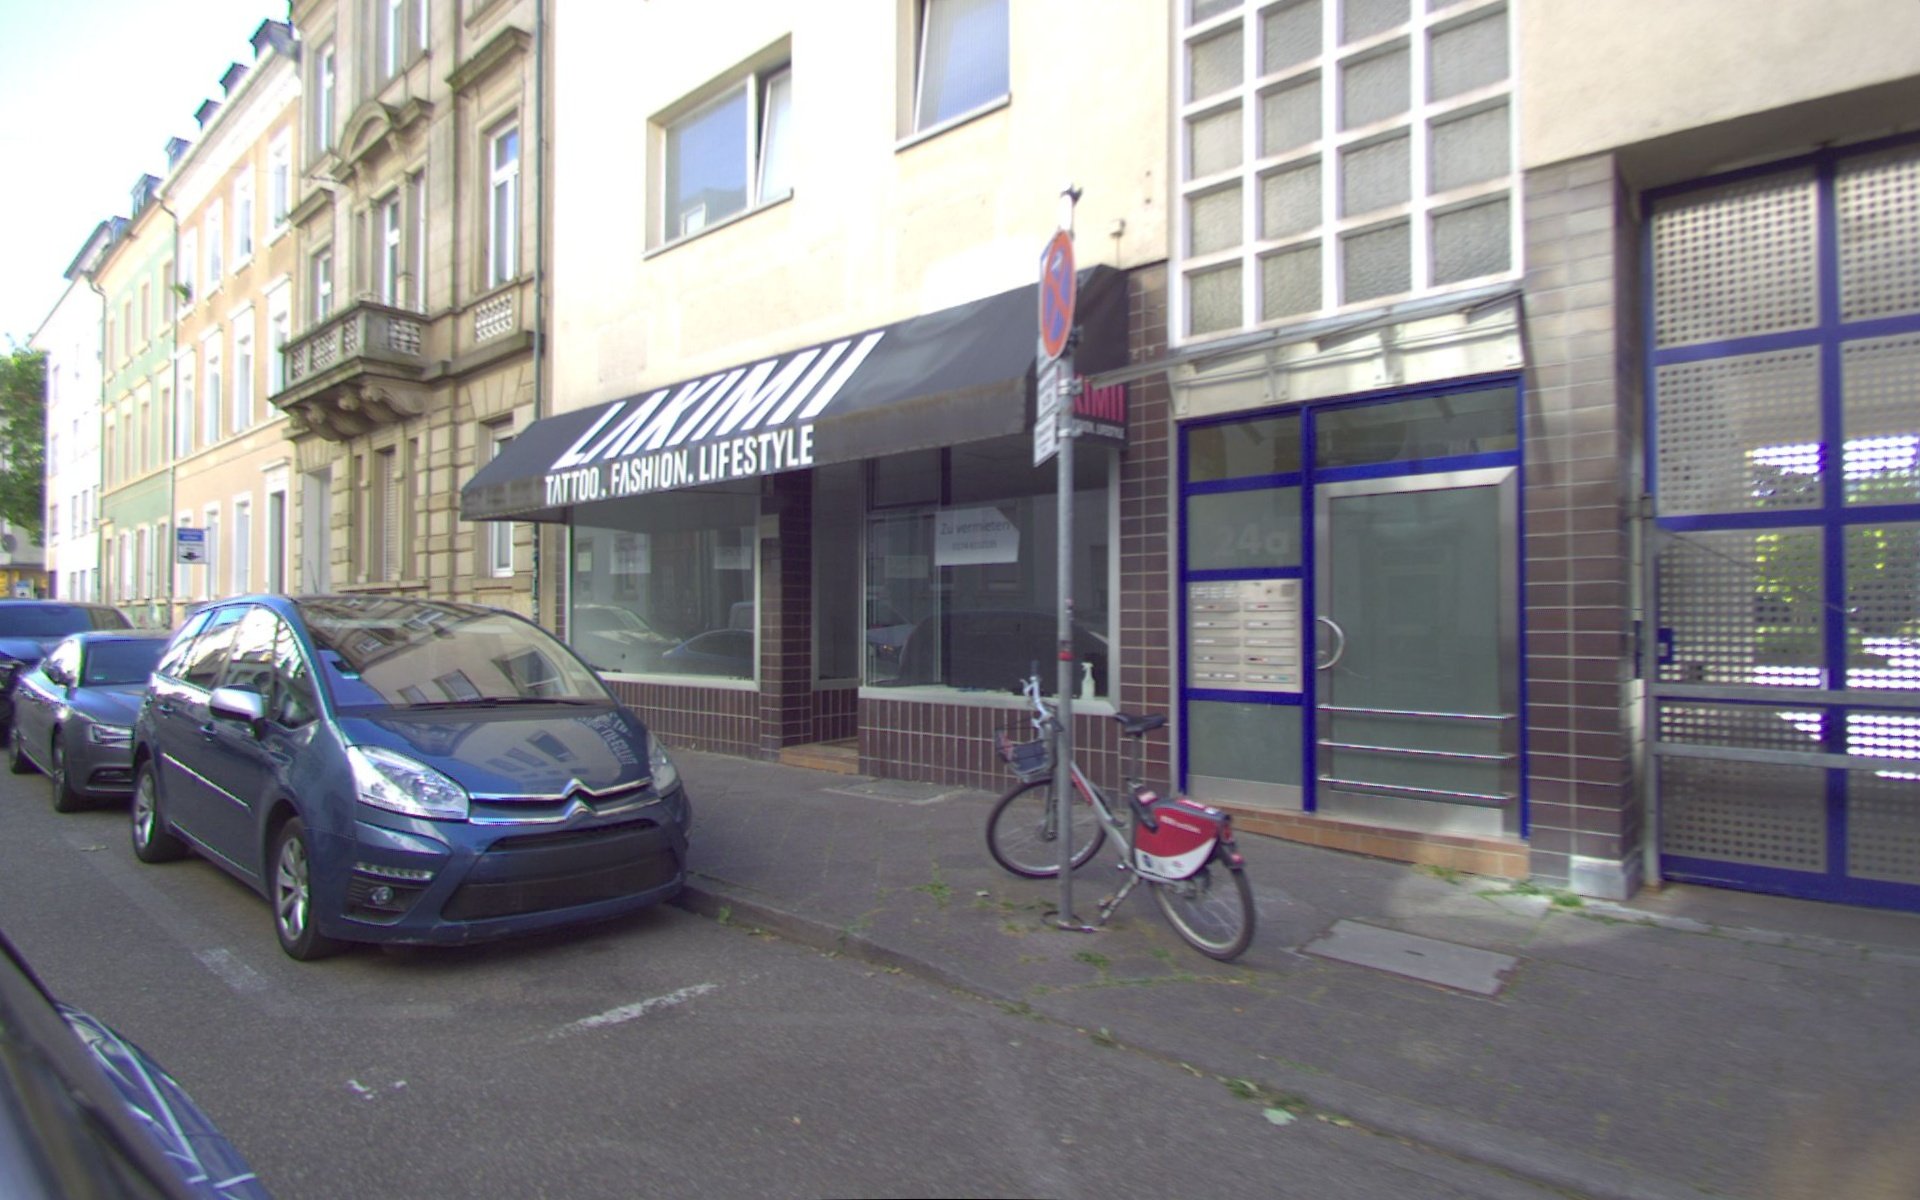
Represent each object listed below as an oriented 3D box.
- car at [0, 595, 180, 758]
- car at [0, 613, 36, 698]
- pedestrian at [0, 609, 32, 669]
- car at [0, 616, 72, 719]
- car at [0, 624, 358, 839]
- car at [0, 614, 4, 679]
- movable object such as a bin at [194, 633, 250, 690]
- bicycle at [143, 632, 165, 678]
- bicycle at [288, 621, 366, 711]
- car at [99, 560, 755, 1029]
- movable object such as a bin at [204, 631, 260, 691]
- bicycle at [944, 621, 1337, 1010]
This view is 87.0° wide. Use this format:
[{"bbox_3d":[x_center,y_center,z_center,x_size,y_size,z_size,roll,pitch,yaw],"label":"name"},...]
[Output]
[{"bbox_3d":[-11.903,0.874,13.053,5.139,1.749,1.916,-1,-3,41],"label":"car"},{"bbox_3d":[-19.588,1.051,19.881,3.975,1.565,1.599,-1,-2,40],"label":"car"},{"bbox_3d":[-29.997,1.204,31.901,1.245,1.846,0.901,0,-2,41],"label":"pedestrian"},{"bbox_3d":[-16.074,1.034,16.660,4.366,1.543,1.695,-1,-3,43],"label":"car"},{"bbox_3d":[-7.454,0.996,9.335,4.816,1.428,1.826,0,-3,41],"label":"car"},{"bbox_3d":[-23.909,1.128,23.740,4.601,1.627,1.725,-2,-4,42],"label":"car"},{"bbox_3d":[-14.601,1.202,20.027,0.681,1.097,0.728,-3,-3,37],"label":"movable object such as a bin"},{"bbox_3d":[-19.534,1.304,24.526,0.356,1.036,1.921,2,-2,-39],"label":"bicycle"},{"bbox_3d":[-9.735,0.981,15.544,1.867,1.286,0.505,0,-2,43],"label":"bicycle"},{"bbox_3d":[-3.355,0.762,5.857,4.668,1.679,1.764,-1,-3,41],"label":"car"},{"bbox_3d":[-14.123,1.171,19.631,0.584,1.140,0.712,0,-2,37],"label":"movable object such as a bin"},{"bbox_3d":[0.711,0.814,4.563,0.460,1.341,1.857,-3,3,-41],"label":"bicycle"}]
